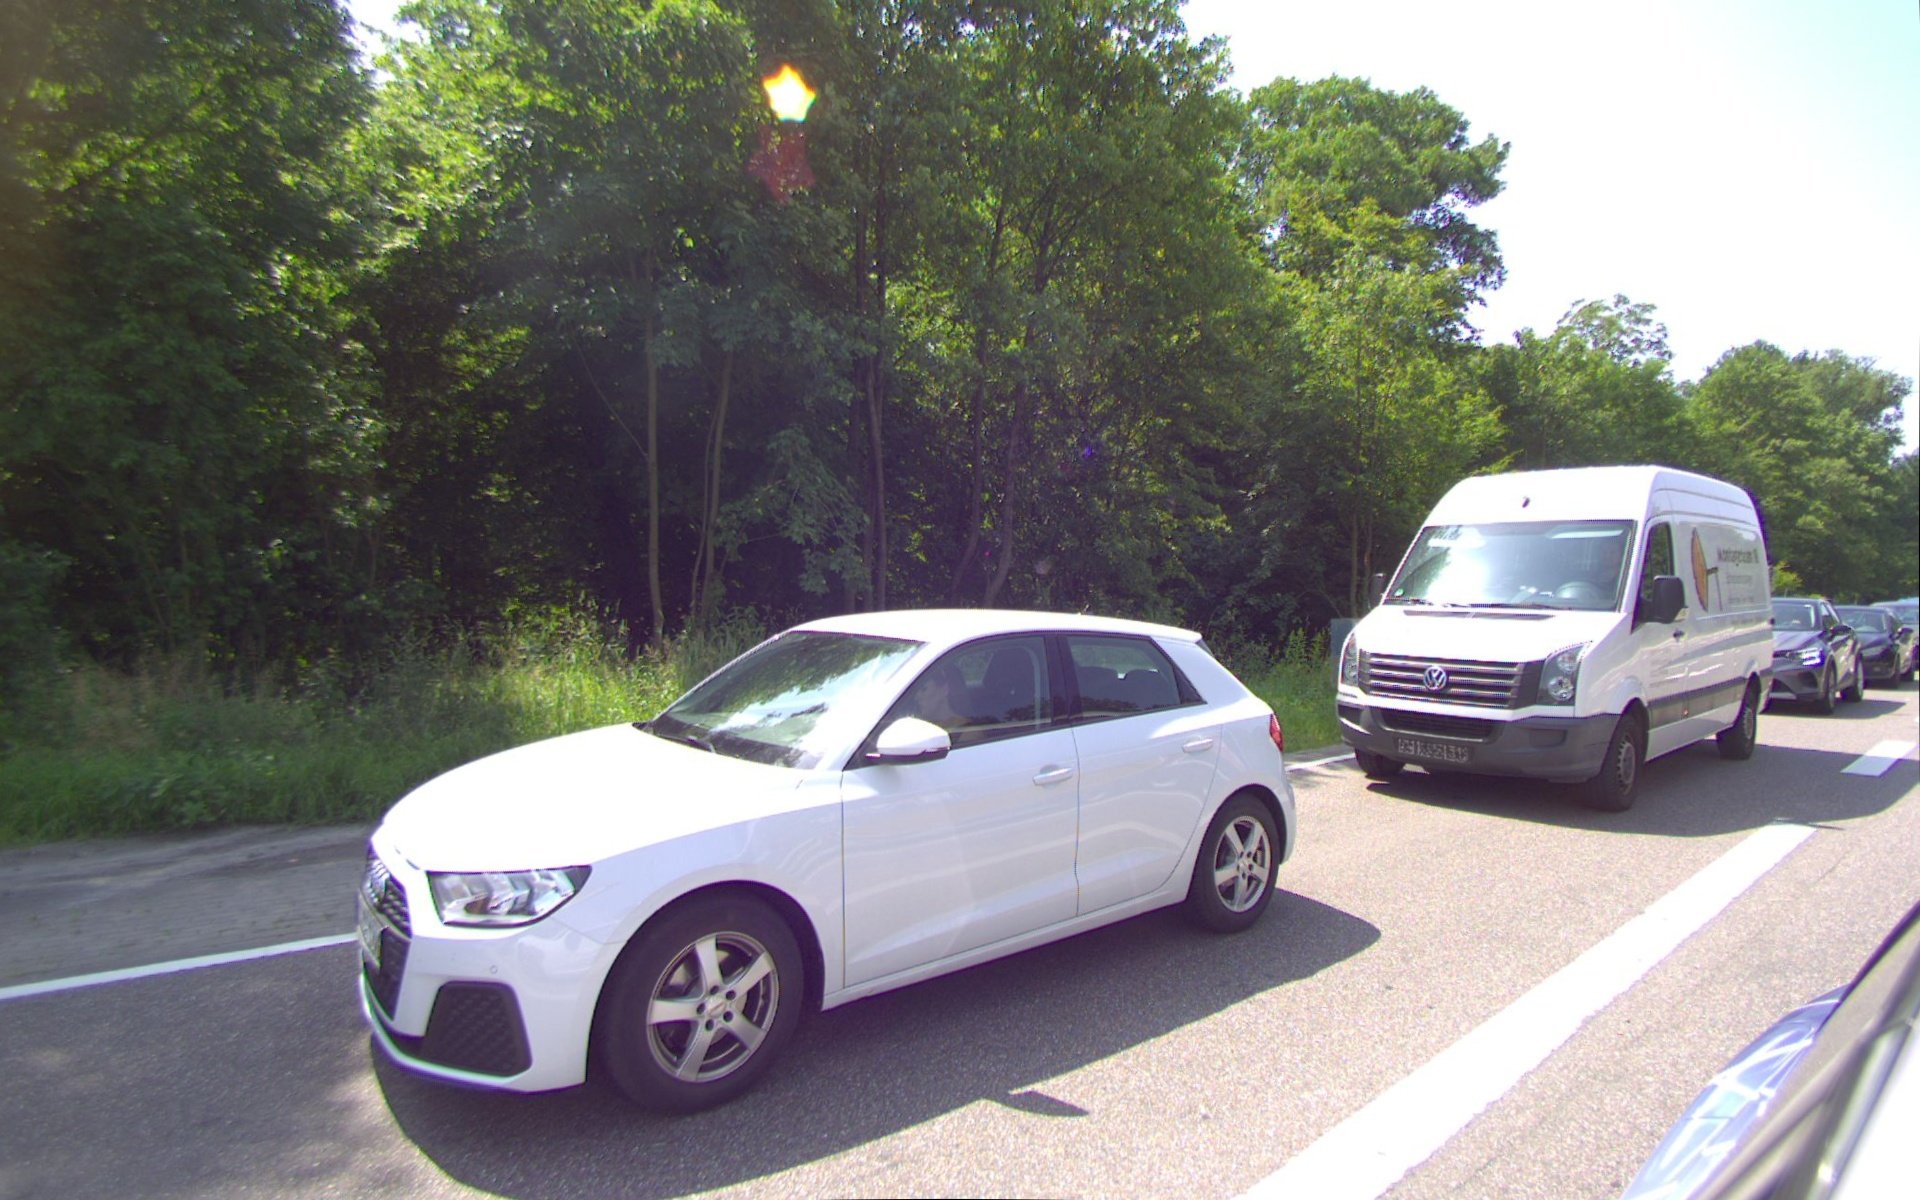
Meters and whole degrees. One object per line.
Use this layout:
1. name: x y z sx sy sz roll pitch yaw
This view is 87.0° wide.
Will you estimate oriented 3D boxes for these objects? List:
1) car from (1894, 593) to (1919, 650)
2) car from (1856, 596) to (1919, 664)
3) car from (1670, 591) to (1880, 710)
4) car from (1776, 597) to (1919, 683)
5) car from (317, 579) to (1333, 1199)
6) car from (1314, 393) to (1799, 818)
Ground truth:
1. car: 26.666 0.569 27.333 4.157 1.457 1.794 0 1 -43
2. car: 22.160 0.647 23.364 4.157 1.457 1.794 0 1 -43
3. car: 11.891 0.622 14.663 4.157 1.479 1.794 0 0 -43
4. car: 16.615 0.645 18.707 4.157 1.372 1.794 0 1 -43
5. car: -0.287 0.684 4.245 3.927 1.454 1.693 0 -1 -39
6. car: 5.637 0.035 9.077 5.953 2.679 1.973 0 0 -41
